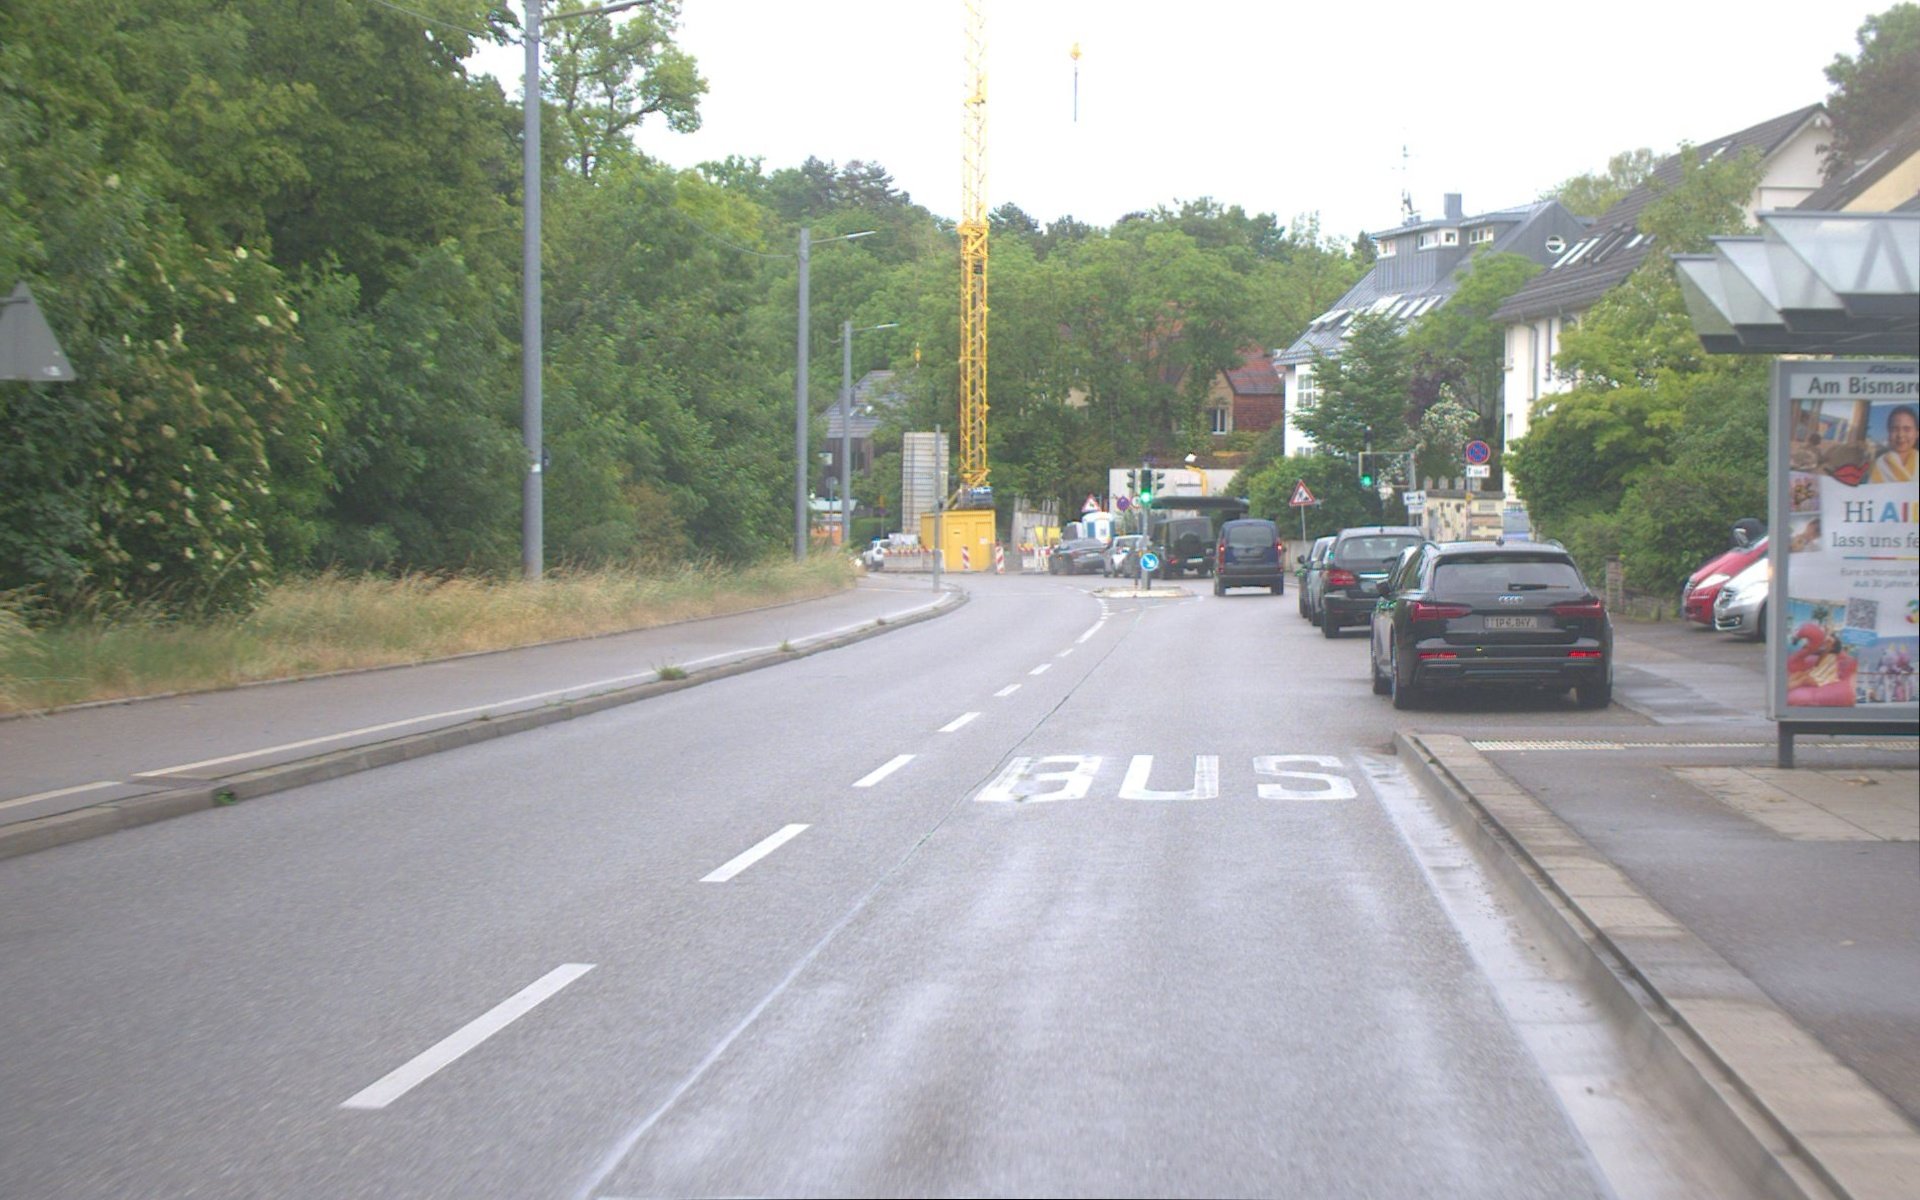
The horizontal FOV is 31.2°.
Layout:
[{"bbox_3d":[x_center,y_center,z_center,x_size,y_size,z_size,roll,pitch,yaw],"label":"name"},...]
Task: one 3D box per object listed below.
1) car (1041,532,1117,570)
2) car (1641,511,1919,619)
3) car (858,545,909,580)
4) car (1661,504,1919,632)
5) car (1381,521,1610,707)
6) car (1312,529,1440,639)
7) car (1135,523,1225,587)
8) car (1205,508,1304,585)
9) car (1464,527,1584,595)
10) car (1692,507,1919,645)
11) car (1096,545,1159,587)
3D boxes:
[{"bbox_3d":[4.704,-1.959,136.521,1.931,1.417,4.839,1,1,-11],"label":"car"},{"bbox_3d":[11.619,-0.471,47.253,4.246,1.455,1.882,0,0,5],"label":"car"},{"bbox_3d":[-3.969,-1.950,178.566,1.744,1.700,4.503,-2,1,-12],"label":"car"},{"bbox_3d":[11.216,-0.425,45.209,3.658,1.561,1.882,-2,0,5],"label":"car"},{"bbox_3d":[4.738,0.121,30.933,1.830,1.542,4.629,0,0,6],"label":"car"},{"bbox_3d":[6.218,-0.280,51.740,1.730,1.562,4.521,-1,1,5],"label":"car"},{"bbox_3d":[7.190,-1.470,113.000,1.993,2.007,4.958,-2,1,-7],"label":"car"},{"bbox_3d":[7.171,-1.287,84.167,1.932,1.745,4.000,3,0,-1],"label":"car"},{"bbox_3d":[14.249,-0.982,87.041,1.931,1.590,4.343,3,0,-5],"label":"car"},{"bbox_3d":[11.027,-0.334,42.217,3.657,1.531,1.828,-3,1,2],"label":"car"},{"bbox_3d":[5.967,-1.227,122.582,1.672,1.452,3.386,-1,1,-7],"label":"car"}]
